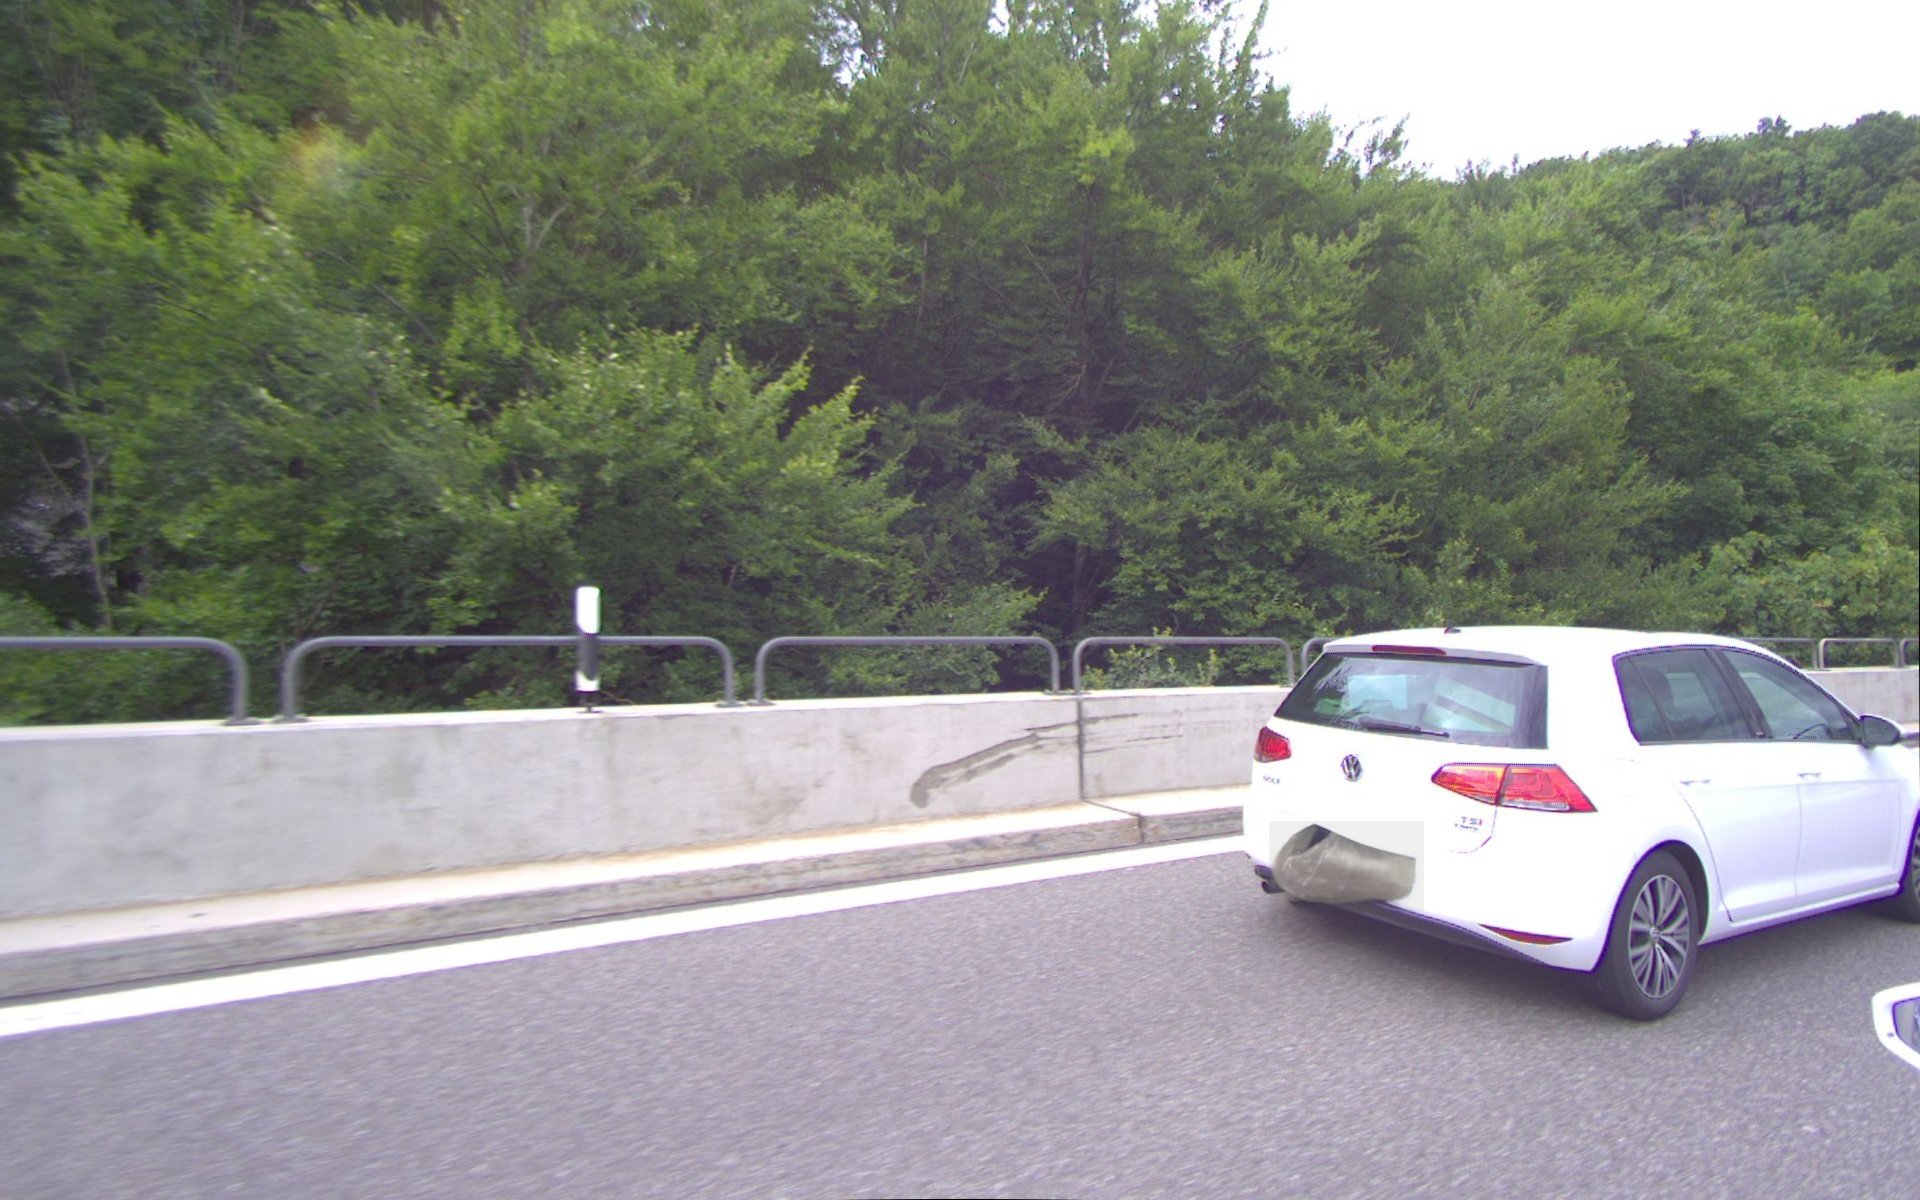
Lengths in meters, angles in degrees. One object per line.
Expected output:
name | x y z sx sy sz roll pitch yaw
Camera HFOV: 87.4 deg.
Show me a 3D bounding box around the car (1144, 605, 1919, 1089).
car | 3.304 0.830 5.119 4.573 1.501 1.836 1 0 -30
